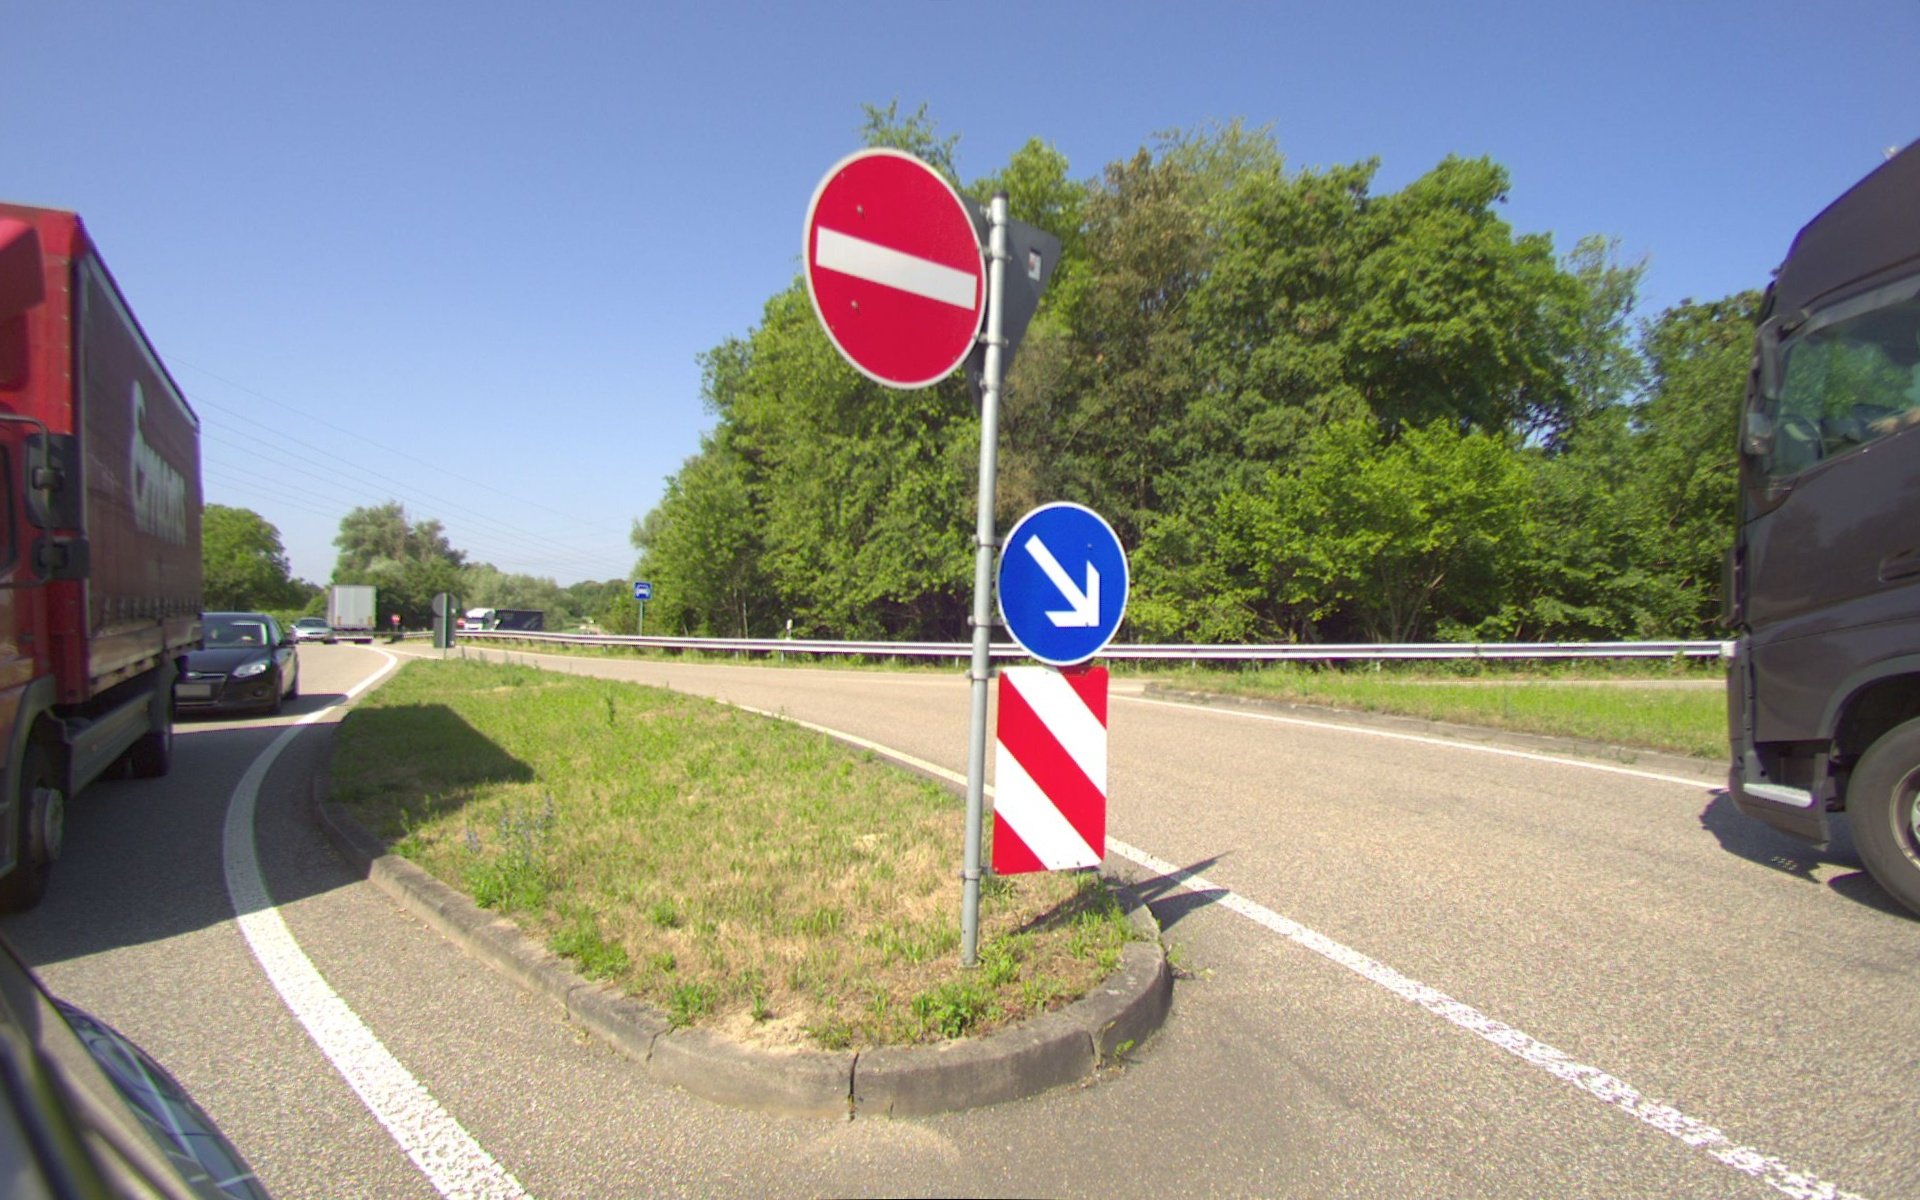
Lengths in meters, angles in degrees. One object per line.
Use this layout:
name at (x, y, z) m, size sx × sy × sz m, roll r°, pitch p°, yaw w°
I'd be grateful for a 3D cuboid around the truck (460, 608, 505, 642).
truck at (-63.461, 3.354, 134.575) m, size 2.904 × 4.270 × 5.724 m, roll 1°, pitch -2°, yaw 5°

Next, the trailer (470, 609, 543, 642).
trailer at (-63.038, 3.598, 141.268) m, size 2.893 × 4.272 × 13.962 m, roll 2°, pitch -2°, yaw 4°

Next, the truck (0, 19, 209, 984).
truck at (-7.253, -0.314, 7.060) m, size 2.646 × 3.689 × 9.287 m, roll 0°, pitch -1°, yaw -33°

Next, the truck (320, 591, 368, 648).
truck at (-48.620, 1.531, 79.865) m, size 2.891 × 4.279 × 5.748 m, roll 3°, pitch -2°, yaw -33°

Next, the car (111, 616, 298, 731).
car at (-10.949, 0.961, 14.936) m, size 1.758 × 1.425 × 4.012 m, roll 0°, pitch -1°, yaw -30°

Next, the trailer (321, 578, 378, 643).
trailer at (-44.883, 0.884, 74.151) m, size 2.910 × 4.300 × 14.019 m, roll 3°, pitch -3°, yaw -33°

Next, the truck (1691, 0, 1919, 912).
truck at (5.851, -0.761, 2.785) m, size 2.835 × 4.205 × 5.979 m, roll -1°, pitch -1°, yaw -6°

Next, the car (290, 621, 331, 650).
car at (-34.307, 1.851, 53.433) m, size 1.759 × 1.396 × 4.390 m, roll 0°, pitch -1°, yaw -34°
